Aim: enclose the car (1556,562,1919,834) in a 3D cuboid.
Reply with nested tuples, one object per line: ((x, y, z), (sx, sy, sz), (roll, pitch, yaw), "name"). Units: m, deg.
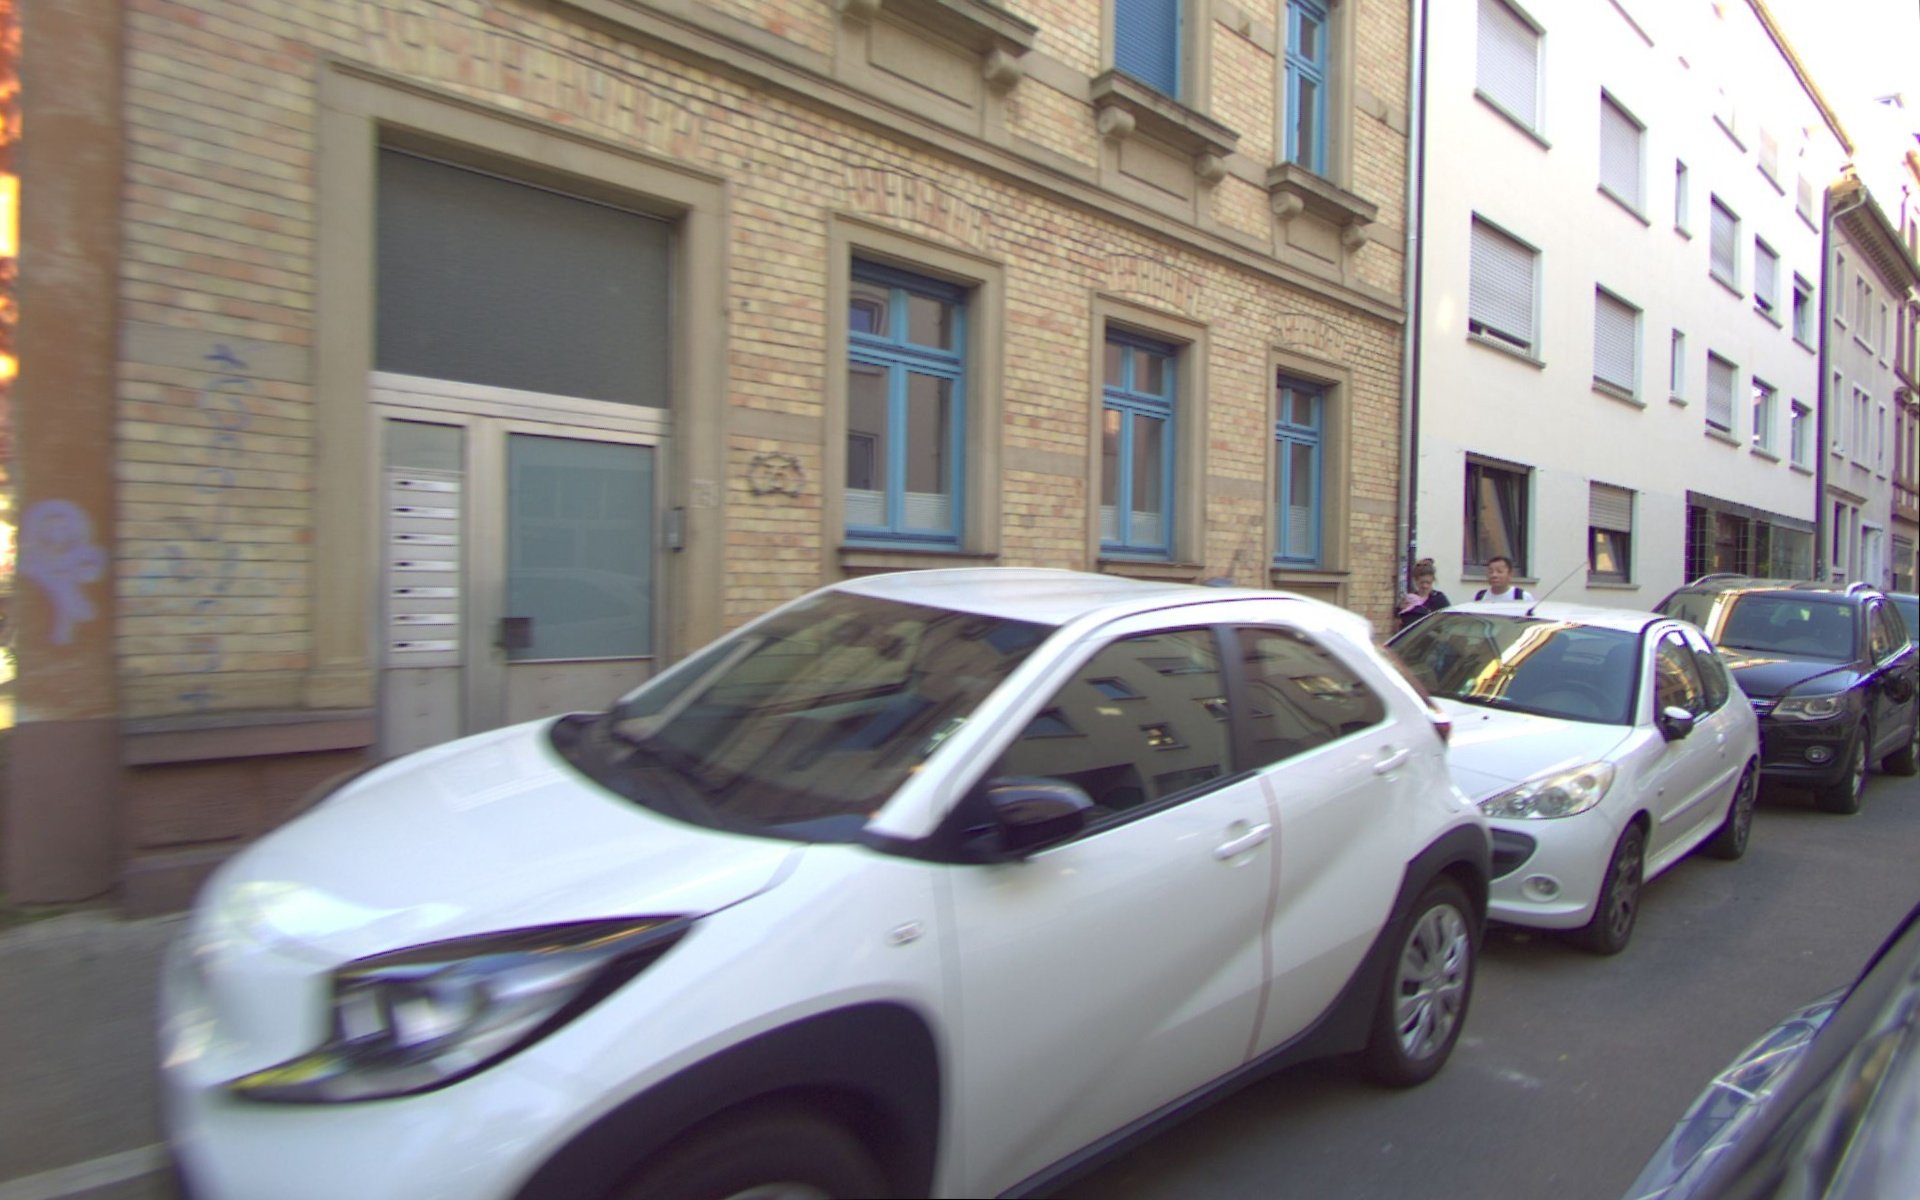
((6.943, 0.601, 8.608), (4.250, 1.686, 1.771), (0, 5, -39), "car")

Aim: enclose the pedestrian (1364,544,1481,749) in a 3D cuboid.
((4.147, 0.387, 9.084), (0.694, 1.729, 0.599), (0, 5, -40), "pedestrian")

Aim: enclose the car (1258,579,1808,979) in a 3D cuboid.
((3.521, 0.668, 5.873), (3.936, 1.468, 1.596), (-1, 5, -43), "car")

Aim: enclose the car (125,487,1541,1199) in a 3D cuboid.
((0.025, 0.637, 2.881), (3.697, 1.604, 1.597), (0, 3, -40), "car")

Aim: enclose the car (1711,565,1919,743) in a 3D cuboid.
((10.721, 0.507, 12.006), (4.251, 1.686, 1.886), (0, 5, -40), "car")

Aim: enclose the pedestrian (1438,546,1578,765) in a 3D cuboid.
((4.662, 0.435, 8.624), (0.739, 1.729, 0.712), (0, 5, -40), "pedestrian")
